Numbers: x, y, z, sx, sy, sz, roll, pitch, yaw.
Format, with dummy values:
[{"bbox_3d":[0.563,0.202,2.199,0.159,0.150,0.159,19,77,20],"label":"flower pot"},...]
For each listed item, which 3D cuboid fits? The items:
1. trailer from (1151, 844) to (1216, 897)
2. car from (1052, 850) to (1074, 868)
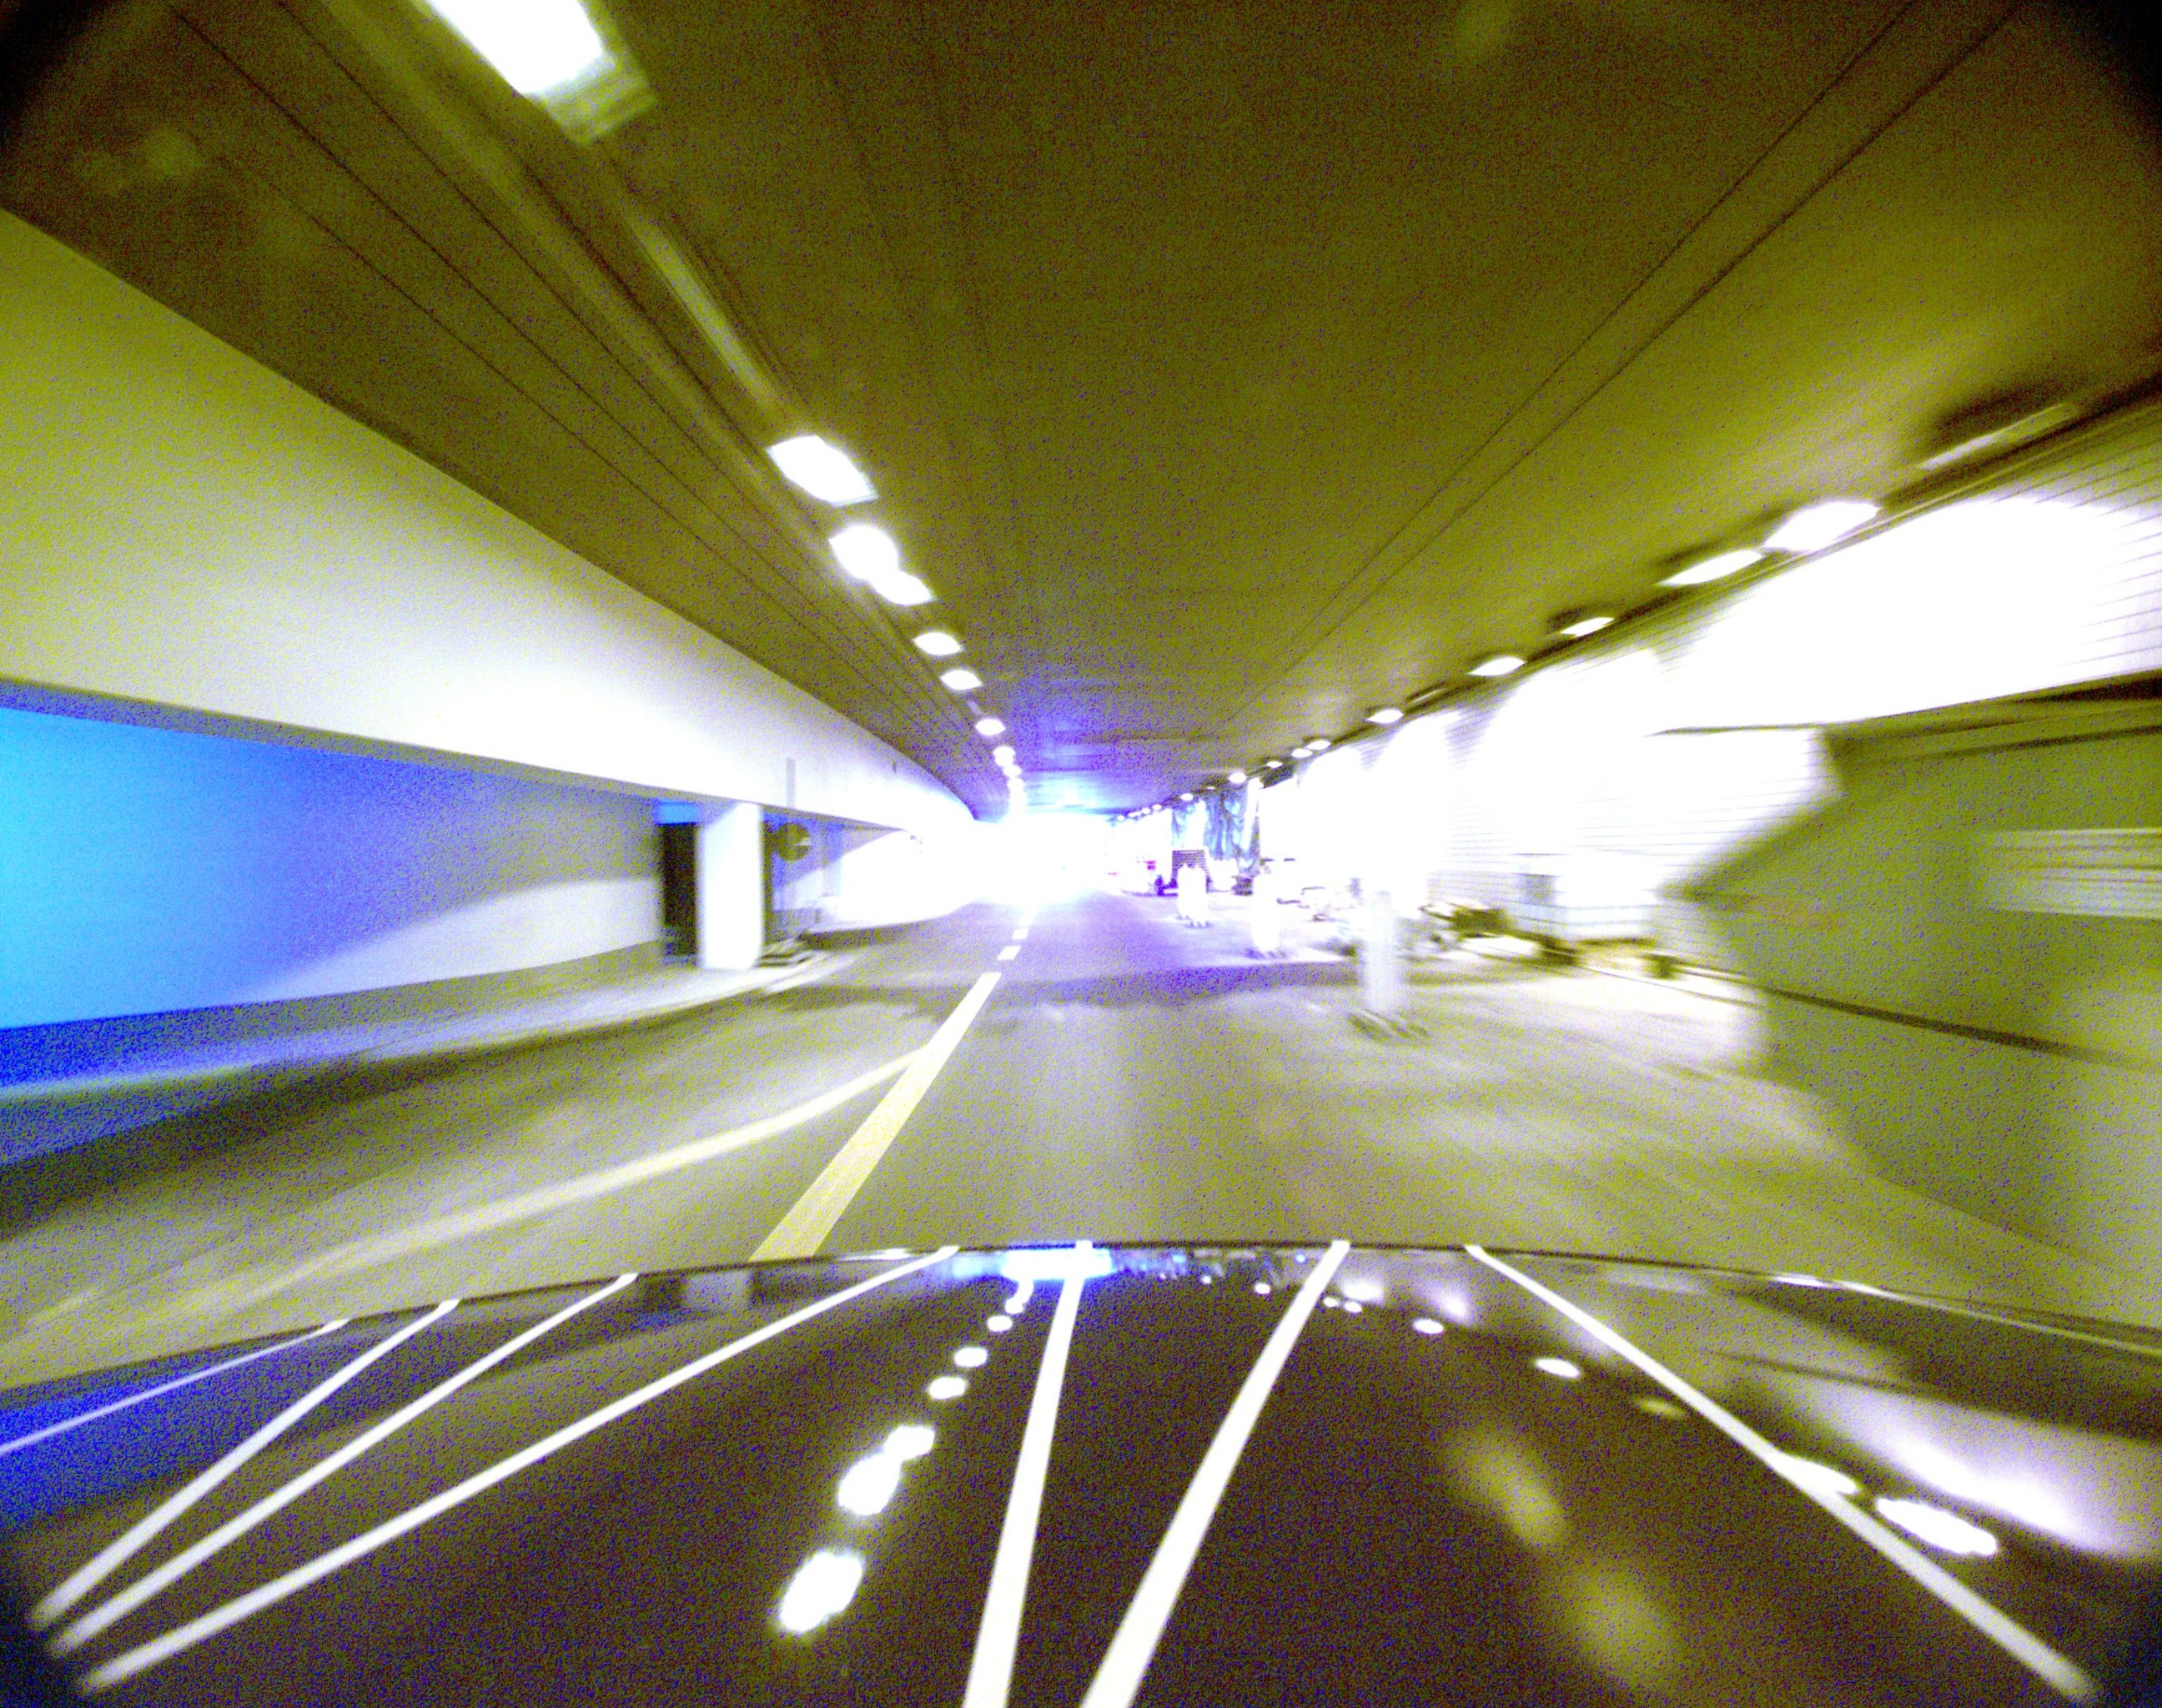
[{"bbox_3d":[3.704,0.561,27.859,1.644,1.781,3.120,-2,1,-5],"label":"trailer"},{"bbox_3d":[-1.854,0.460,77.631,1.999,1.743,3.998,-2,1,-3],"label":"car"}]
